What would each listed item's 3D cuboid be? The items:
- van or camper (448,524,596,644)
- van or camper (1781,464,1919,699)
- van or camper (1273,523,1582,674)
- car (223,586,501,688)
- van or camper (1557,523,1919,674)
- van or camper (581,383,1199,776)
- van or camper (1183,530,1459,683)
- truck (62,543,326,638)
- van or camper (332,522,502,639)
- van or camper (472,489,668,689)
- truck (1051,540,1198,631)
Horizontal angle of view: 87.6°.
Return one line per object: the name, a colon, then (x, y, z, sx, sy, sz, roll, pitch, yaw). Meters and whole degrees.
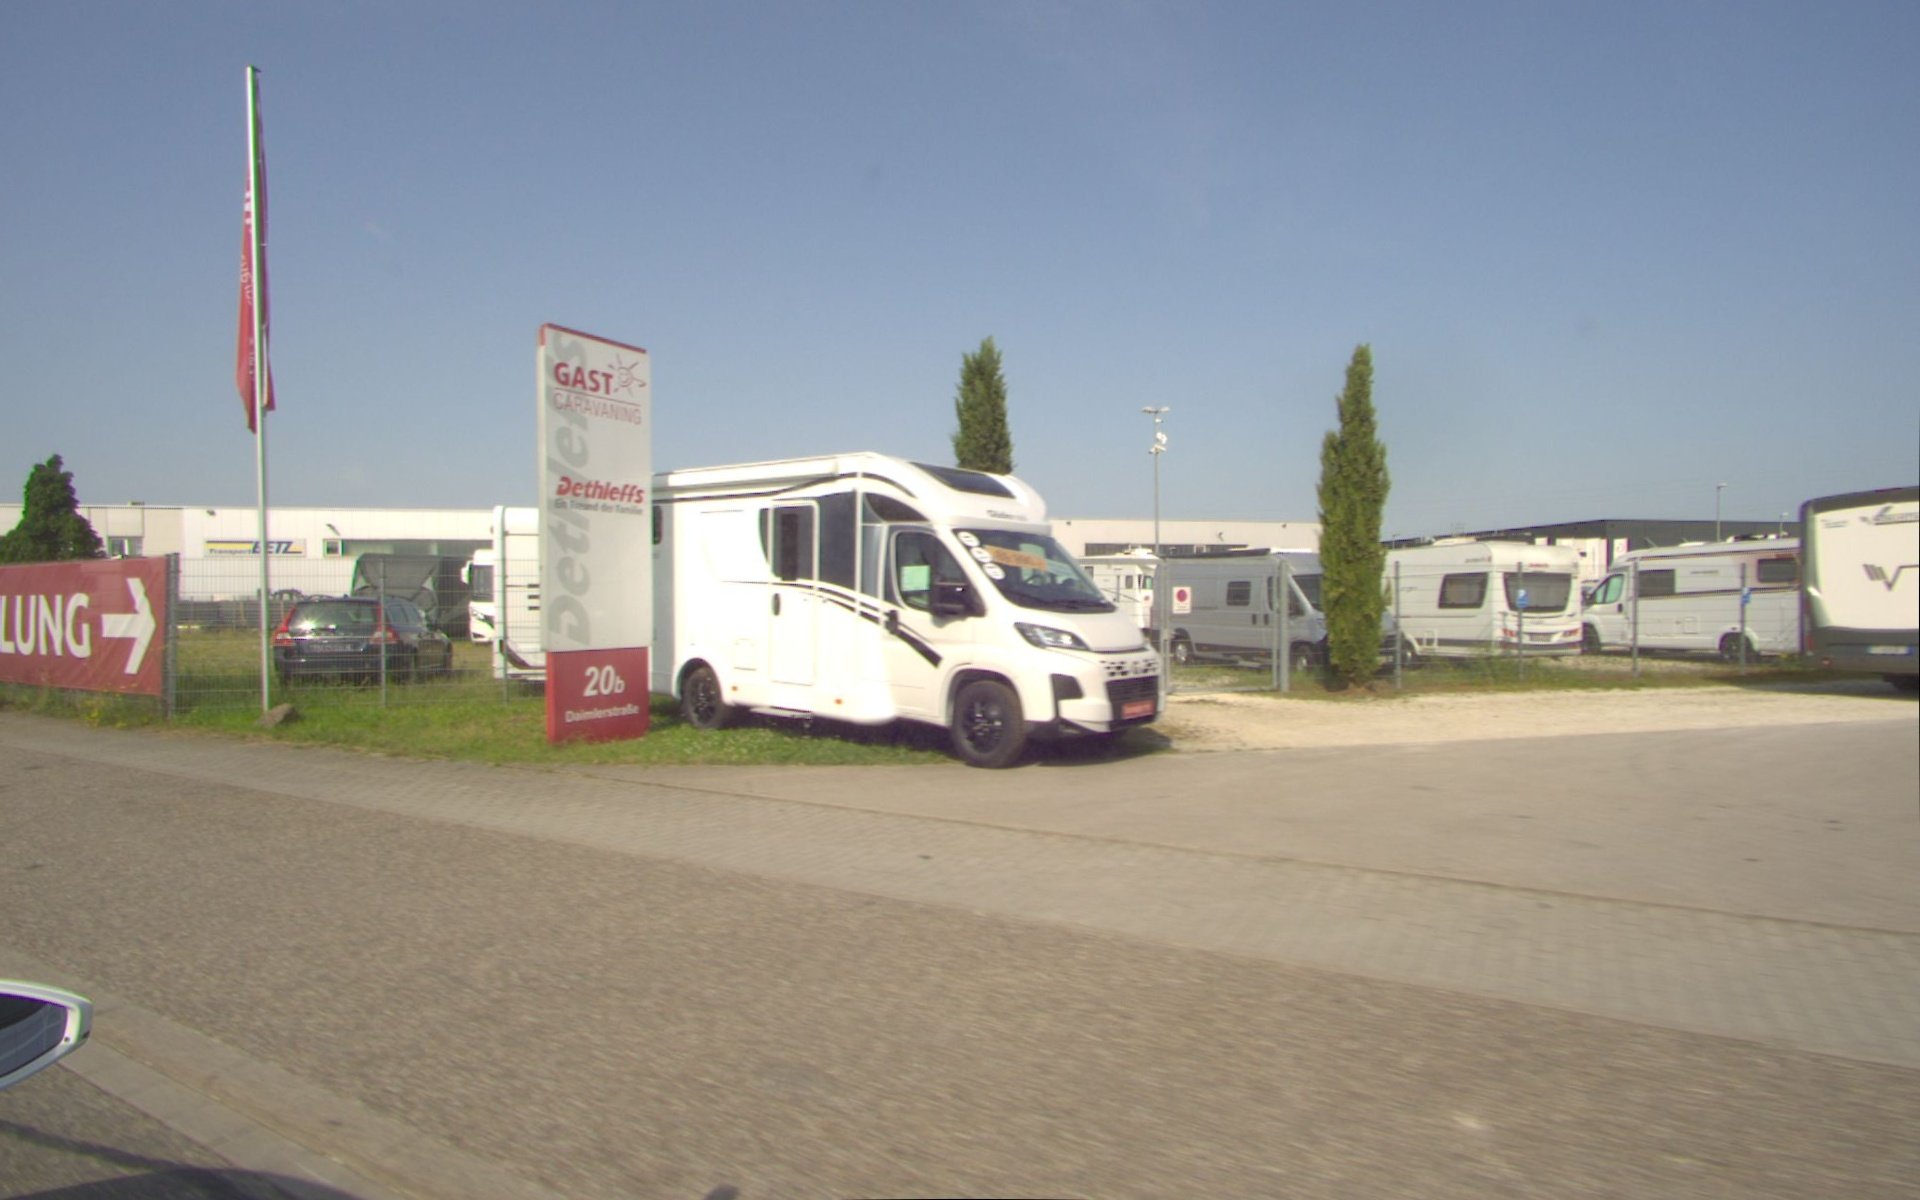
van or camper: (-12.871, -0.443, 30.148, 2.756, 3.125, 7.957, 0, 1, -14)
van or camper: (15.836, -0.241, 14.673, 7.158, 3.072, 2.579, 0, 0, -20)
van or camper: (9.680, -0.008, 21.664, 2.286, 2.741, 6.597, 0, 0, -16)
car: (-9.659, 0.536, 16.640, 2.130, 1.496, 3.999, 0, 0, 2)
van or camper: (17.258, 0.020, 22.761, 2.286, 2.901, 6.599, 0, -1, -15)
van or camper: (-1.140, -0.161, 10.700, 6.885, 2.983, 2.321, 0, 1, 39)
van or camper: (6.838, 0.101, 19.989, 1.964, 2.568, 6.139, 0, 0, -16)
truck: (-34.202, -0.385, 45.129, 9.148, 4.026, 2.454, 0, 1, -16)
van or camper: (-16.103, -0.533, 30.274, 2.621, 3.125, 6.786, 0, 1, -12)
van or camper: (-6.445, -0.171, 17.426, 2.446, 2.789, 6.613, 0, 1, -15)
truck: (5.656, -0.461, 36.060, 2.413, 2.883, 7.991, 0, 0, -13)
